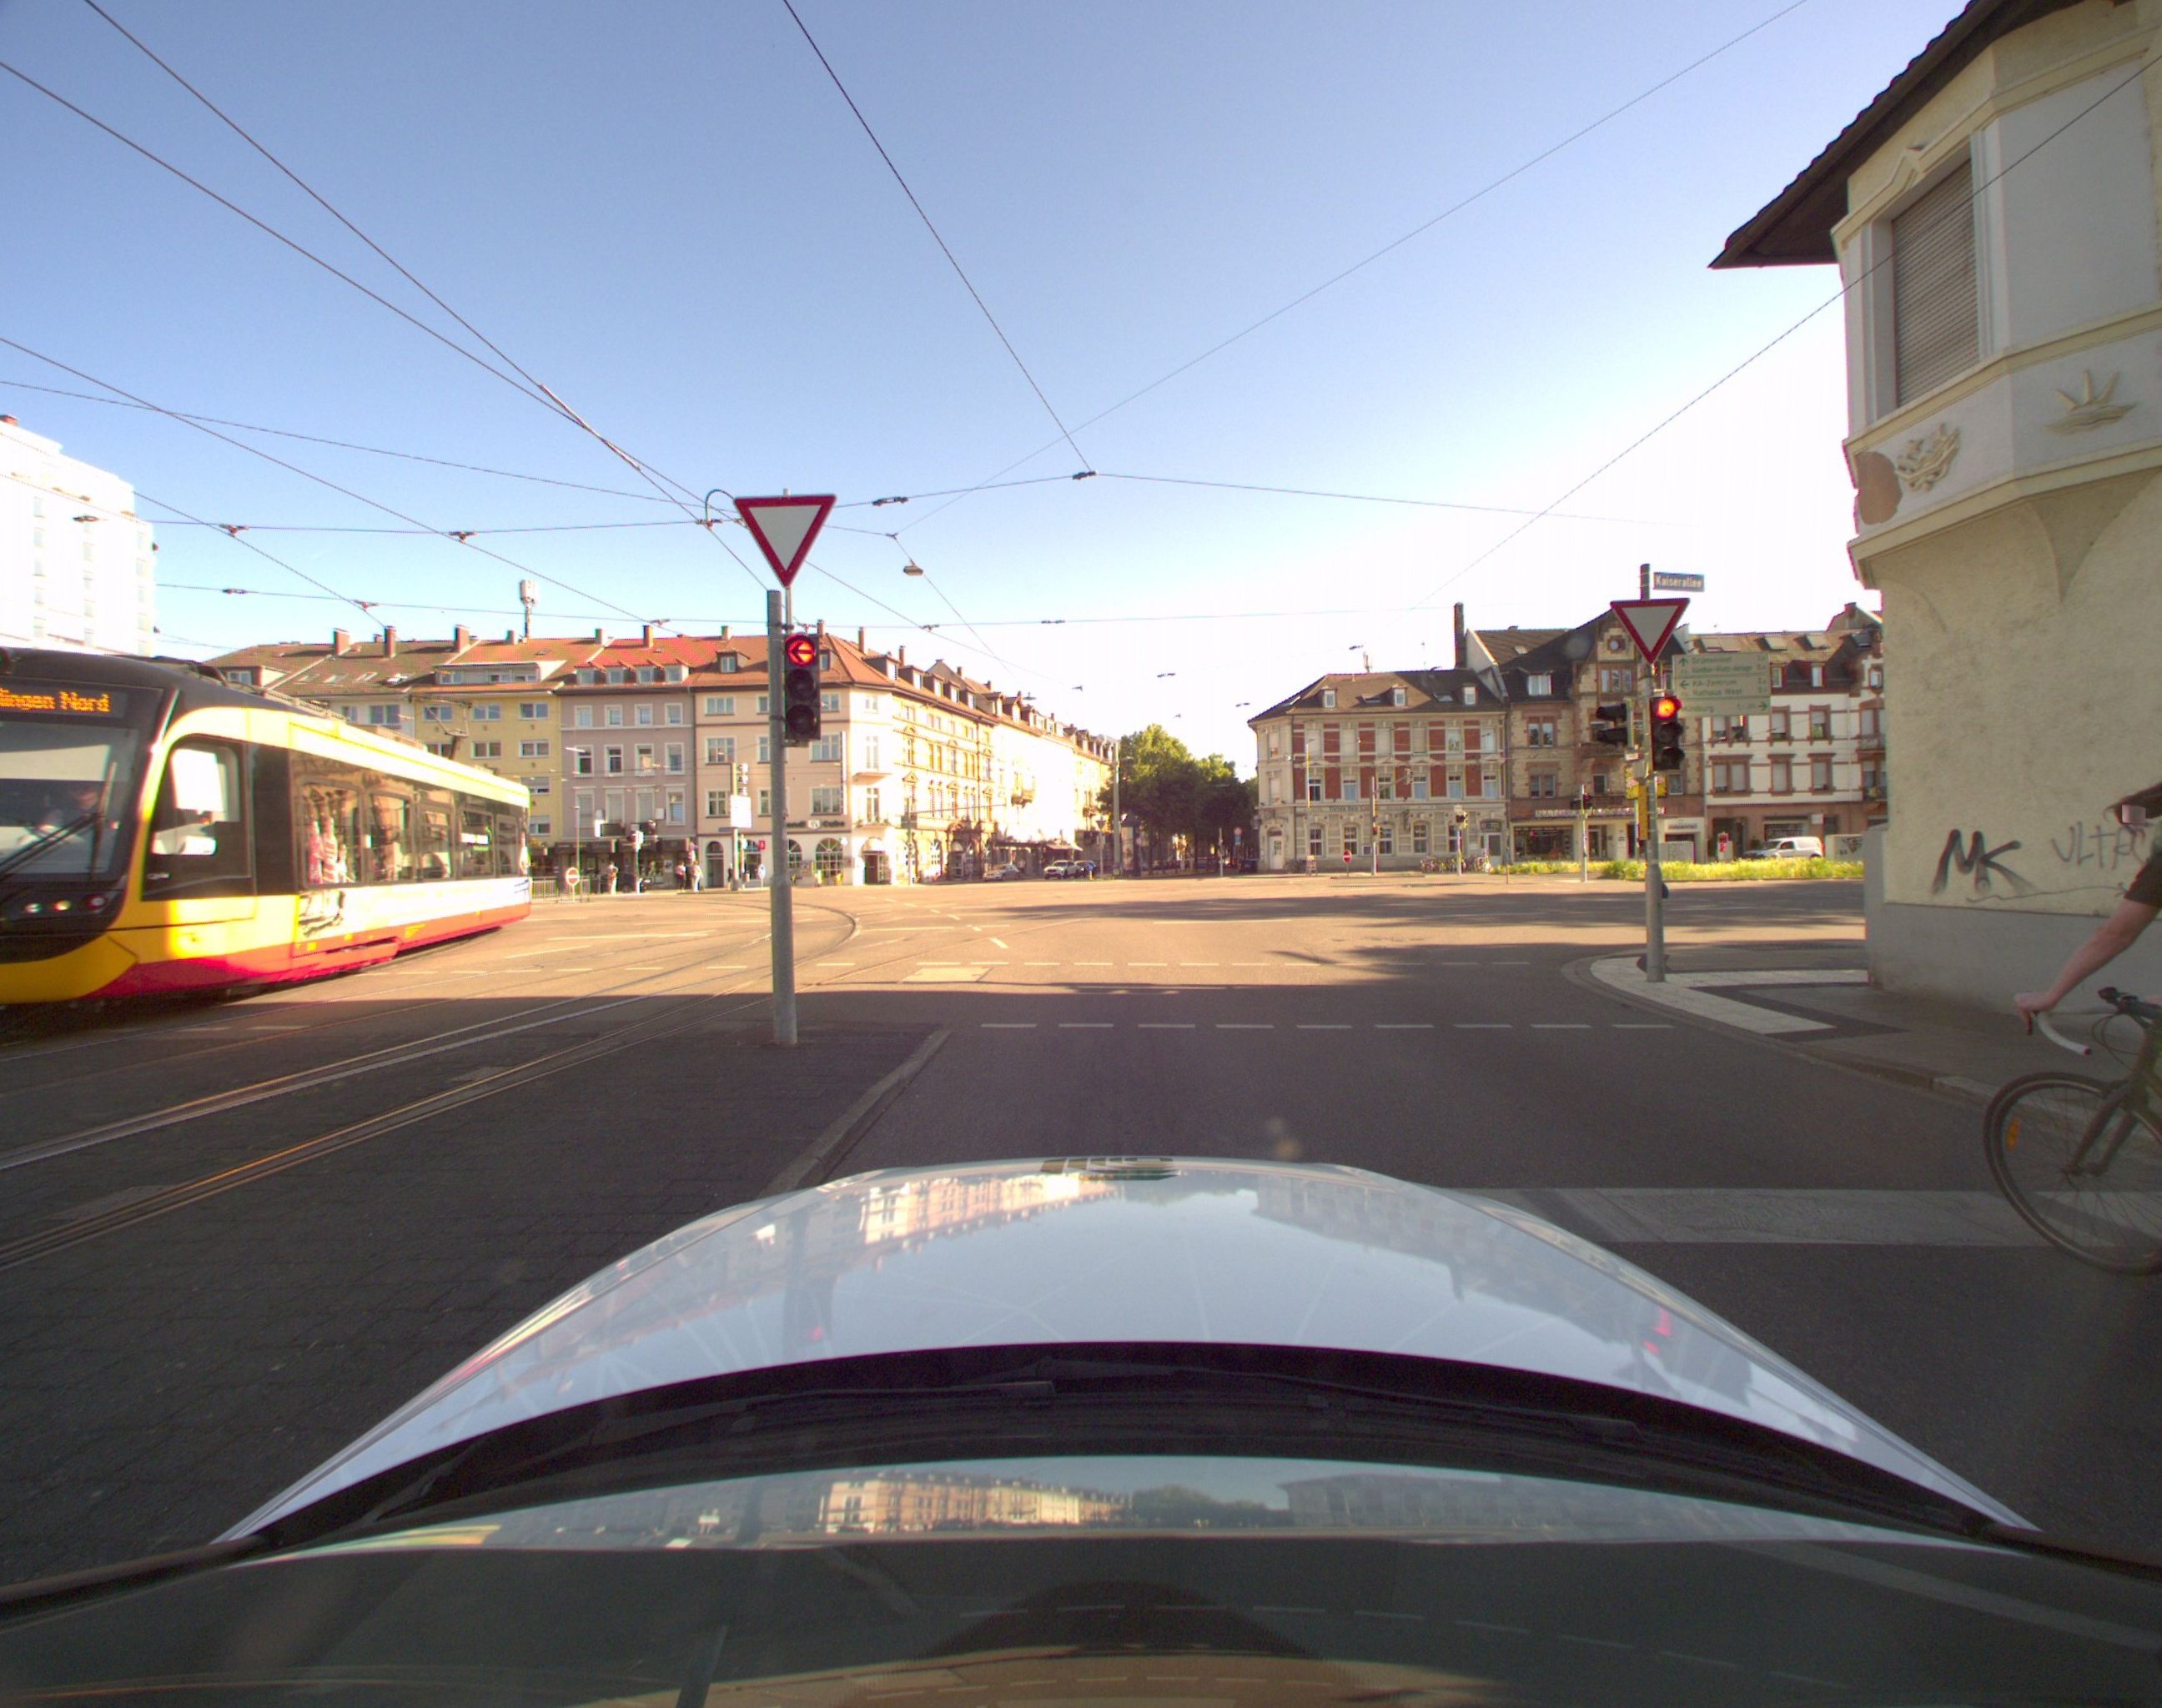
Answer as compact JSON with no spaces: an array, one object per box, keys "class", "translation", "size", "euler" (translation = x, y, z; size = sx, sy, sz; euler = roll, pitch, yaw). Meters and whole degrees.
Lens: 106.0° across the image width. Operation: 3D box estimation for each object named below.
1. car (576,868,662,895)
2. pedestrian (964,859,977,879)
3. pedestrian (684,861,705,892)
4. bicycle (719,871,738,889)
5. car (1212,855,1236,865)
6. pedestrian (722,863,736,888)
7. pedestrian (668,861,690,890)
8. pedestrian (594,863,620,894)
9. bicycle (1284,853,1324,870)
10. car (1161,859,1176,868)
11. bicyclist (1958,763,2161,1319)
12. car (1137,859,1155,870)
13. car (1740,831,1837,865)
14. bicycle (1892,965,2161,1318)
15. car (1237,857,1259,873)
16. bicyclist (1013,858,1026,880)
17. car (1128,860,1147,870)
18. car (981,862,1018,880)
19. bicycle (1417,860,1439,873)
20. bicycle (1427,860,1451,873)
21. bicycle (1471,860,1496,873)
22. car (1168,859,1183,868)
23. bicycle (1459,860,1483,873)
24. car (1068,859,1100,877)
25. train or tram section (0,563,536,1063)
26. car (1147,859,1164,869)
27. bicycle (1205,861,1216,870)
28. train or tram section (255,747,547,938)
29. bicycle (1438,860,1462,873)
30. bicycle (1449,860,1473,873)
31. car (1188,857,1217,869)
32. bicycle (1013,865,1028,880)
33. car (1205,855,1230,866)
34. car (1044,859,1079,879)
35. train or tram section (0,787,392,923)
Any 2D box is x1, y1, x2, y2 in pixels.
[{"class":"car","translation":[-30.358,1.793,53.625],"size":[4.347,1.711,2.308],"euler":[0,-1,4]},{"class":"pedestrian","translation":[-9.380,1.302,69.191],"size":[0.770,1.670,0.834],"euler":[-1,-1,17]},{"class":"pedestrian","translation":[-19.901,1.140,41.959],"size":[0.545,1.577,0.838],"euler":[-1,-1,29]},{"class":"bicycle","translation":[-22.915,1.683,52.933],"size":[0.570,1.077,1.497],"euler":[0,-1,2]},{"class":"car","translation":[23.374,0.970,133.134],"size":[3.549,1.648,1.691],"euler":[-2,0,19]},{"class":"pedestrian","translation":[-22.913,1.392,53.016],"size":[0.580,1.670,0.753],"euler":[0,-1,2]},{"class":"pedestrian","translation":[-22.406,1.187,45.420],"size":[0.718,1.577,0.838],"euler":[-1,-1,29]},{"class":"pedestrian","translation":[-24.783,1.290,42.582],"size":[0.842,1.577,0.836],"euler":[-1,-1,11]},{"class":"bicycle","translation":[15.611,0.496,57.041],"size":[2.547,1.174,0.818],"euler":[0,-1,-1]},{"class":"car","translation":[14.052,1.507,130.590],"size":[1.664,1.354,3.608],"euler":[-2,0,19]},{"class":"bicyclist","translation":[3.575,0.568,2.483],"size":[0.570,1.701,1.117],"euler":[-1,0,2]},{"class":"car","translation":[9.190,1.496,115.429],"size":[1.664,1.354,3.608],"euler":[-2,0,19]},{"class":"car","translation":[45.450,-0.391,52.379],"size":[4.406,2.013,2.002],"euler":[-1,0,4]},{"class":"bicycle","translation":[3.600,0.950,2.492],"size":[0.516,0.970,1.750],"euler":[-1,0,2]},{"class":"car","translation":[16.916,1.096,82.315],"size":[1.664,1.483,3.967],"euler":[-2,0,19]},{"class":"bicyclist","translation":[-4.932,1.210,65.399],"size":[0.772,1.803,1.060],"euler":[-1,-1,16]},{"class":"car","translation":[7.714,1.493,111.305],"size":[1.664,1.354,3.608],"euler":[-2,0,19]},{"class":"car","translation":[-6.700,1.426,67.210],"size":[1.664,1.354,3.608],"euler":[-2,0,19]},{"class":"bicycle","translation":[22.433,0.819,52.677],"size":[0.656,0.840,2.162],"euler":[0,-1,3]},{"class":"bicycle","translation":[23.168,0.814,52.736],"size":[0.656,0.840,2.162],"euler":[0,-1,3]},{"class":"bicycle","translation":[26.015,0.792,52.697],"size":[0.656,0.840,2.162],"euler":[0,-1,3]},{"class":"car","translation":[15.740,1.526,135.583],"size":[1.664,1.354,3.608],"euler":[-2,0,19]},{"class":"bicycle","translation":[25.212,0.798,52.682],"size":[0.656,0.840,2.162],"euler":[0,-1,3]},{"class":"car","translation":[0.318,1.242,73.753],"size":[1.664,1.483,3.967],"euler":[-2,0,19]},{"class":"train or tram section","translation":[-11.279,-0.233,11.956],"size":[2.945,3.814,12.953],"euler":[-1,0,-23]},{"class":"car","translation":[11.261,1.533,122.345],"size":[1.664,1.354,3.608],"euler":[-2,0,19]},{"class":"bicycle","translation":[15.784,1.393,99.261],"size":[0.636,1.021,1.839],"euler":[0,-1,-12]},{"class":"train or tram section","translation":[-18.171,-0.113,21.188],"size":[12.654,3.814,2.960],"euler":[-2,0,37]},{"class":"bicycle","translation":[23.892,0.809,52.721],"size":[0.656,0.840,2.162],"euler":[0,-1,3]},{"class":"bicycle","translation":[24.575,0.804,52.728],"size":[0.656,0.840,2.162],"euler":[0,-1,3]},{"class":"car","translation":[17.221,1.260,115.436],"size":[3.870,1.648,1.691],"euler":[-2,0,19]},{"class":"bicycle","translation":[-4.885,1.485,65.519],"size":[0.696,1.118,1.642],"euler":[-1,-1,16]},{"class":"car","translation":[21.467,1.063,127.701],"size":[3.549,1.648,1.691],"euler":[-2,0,19]},{"class":"car","translation":[-1.595,1.215,67.494],"size":[1.664,1.483,3.789],"euler":[-2,0,19]},{"class":"train or tram section","translation":[-28.446,0.124,25.865],"size":[12.005,3.814,2.950],"euler":[-1,0,10]}]
